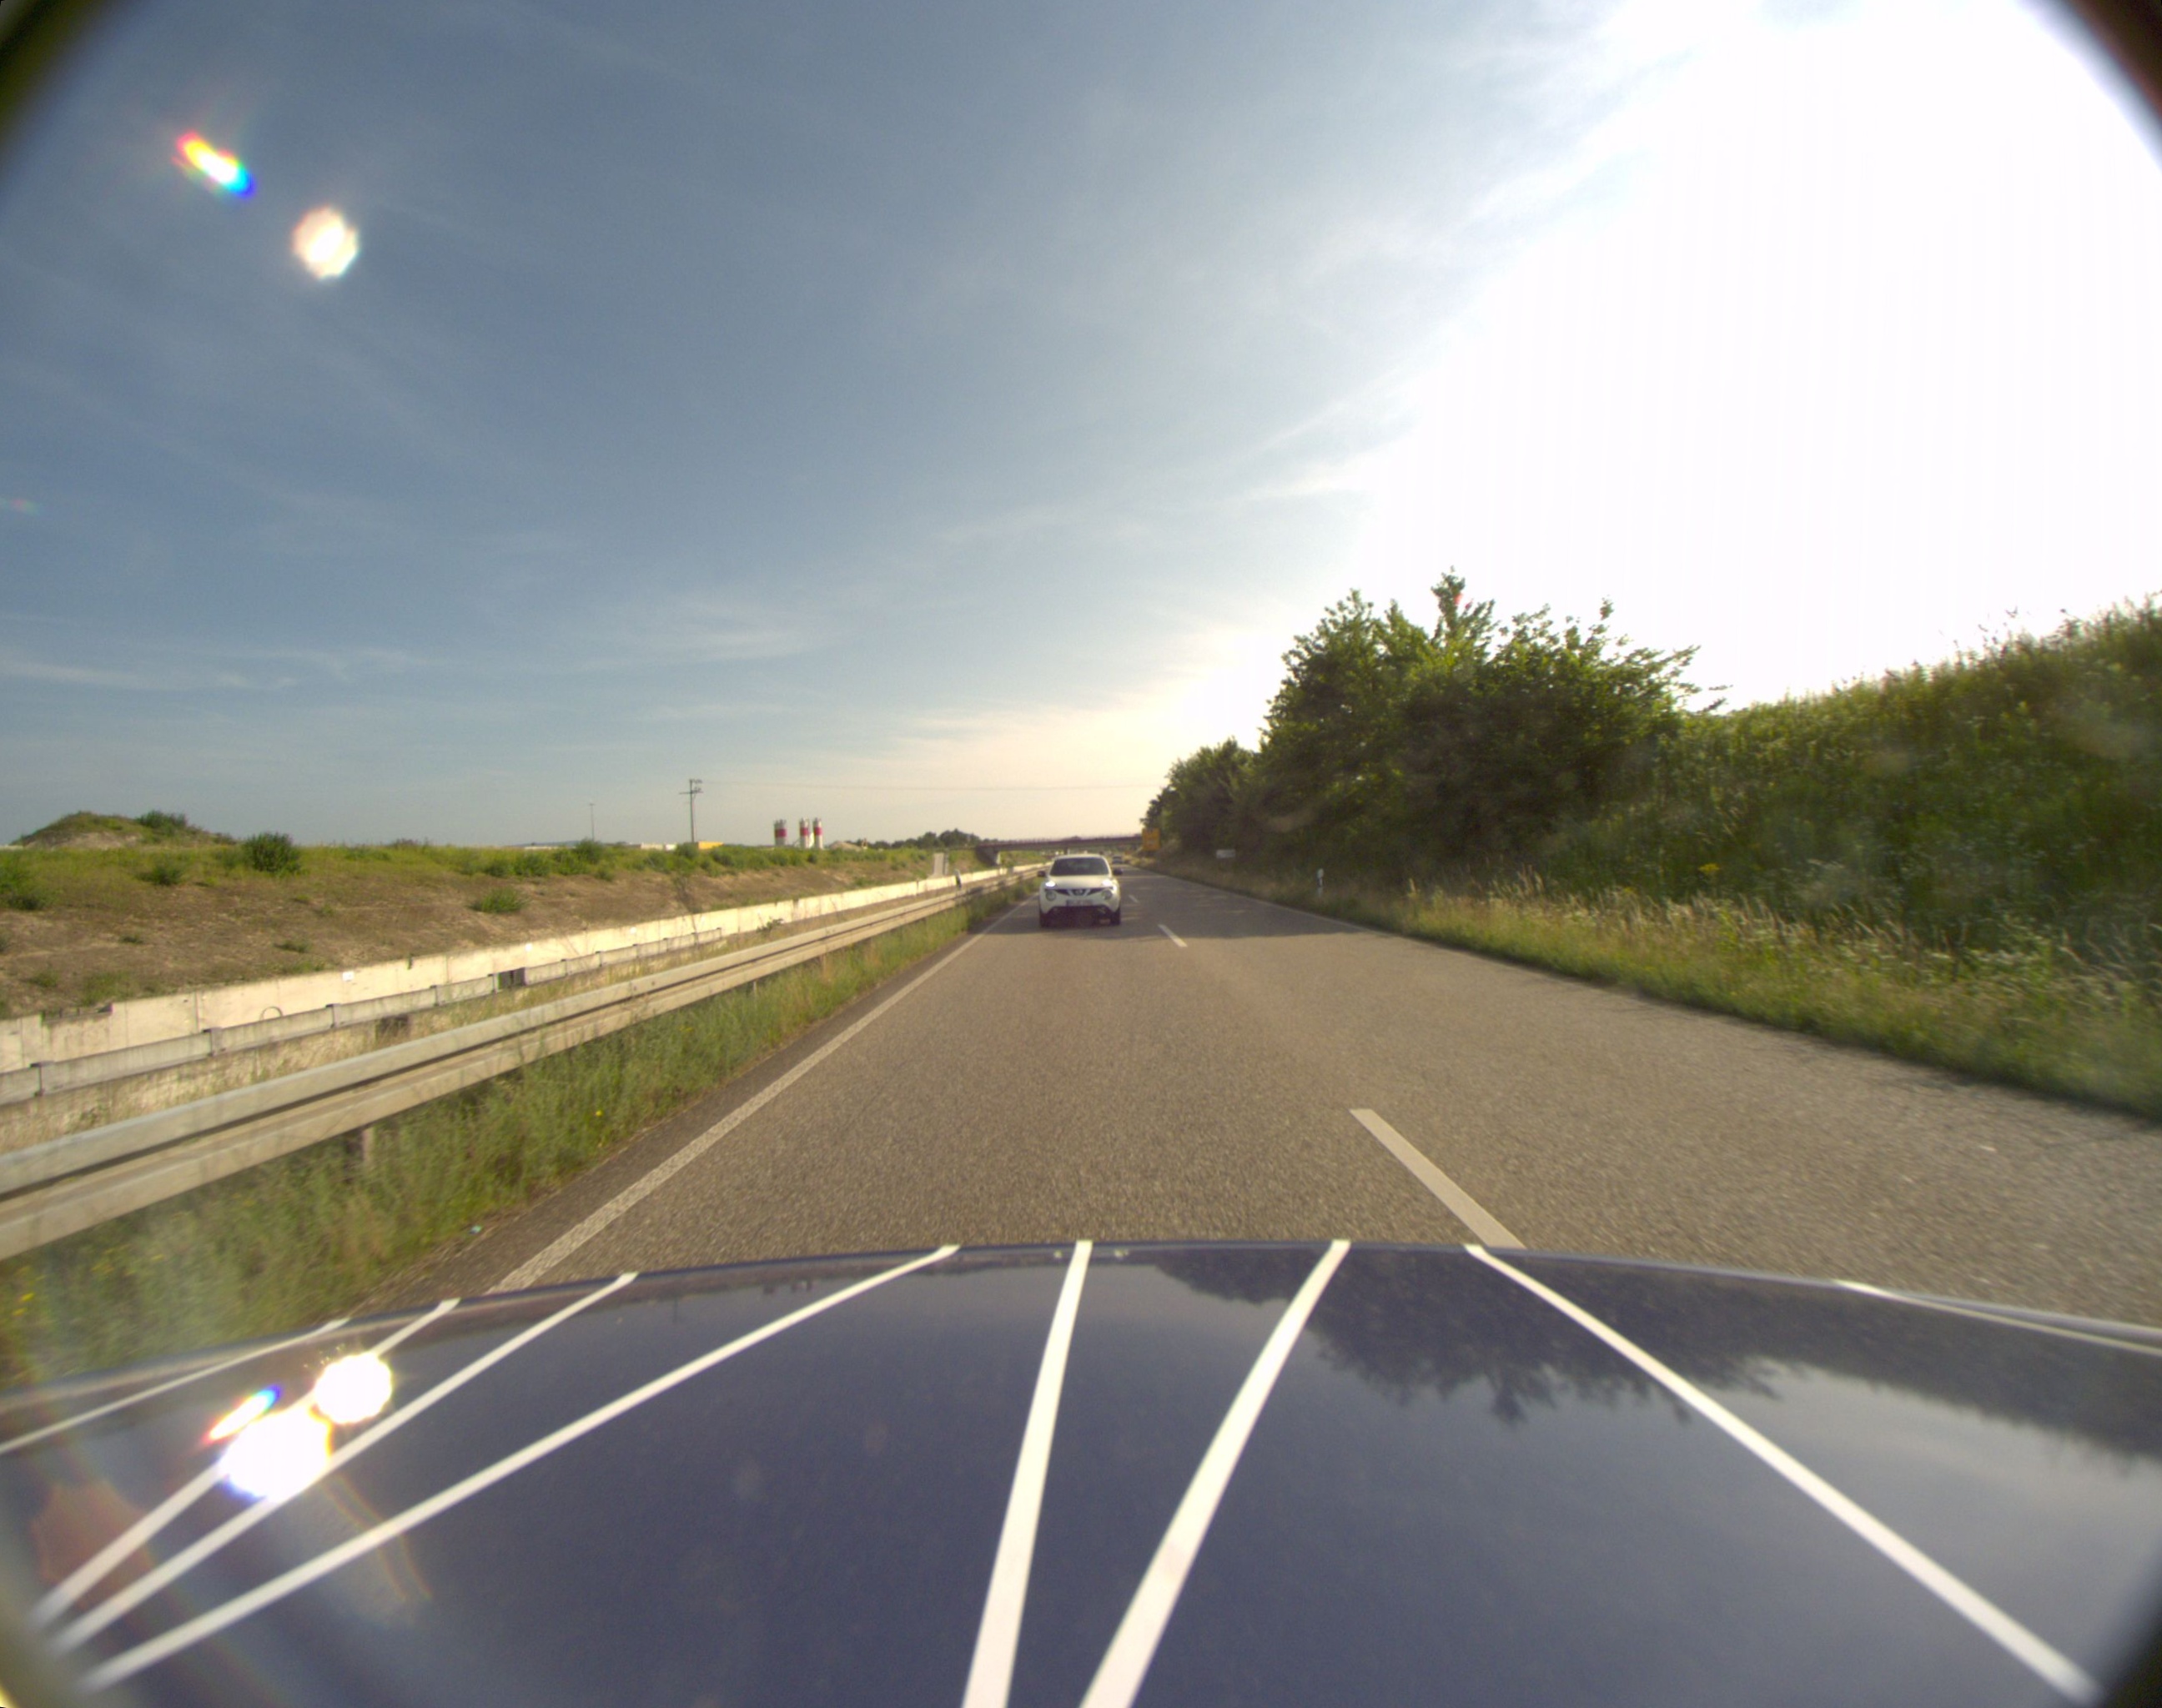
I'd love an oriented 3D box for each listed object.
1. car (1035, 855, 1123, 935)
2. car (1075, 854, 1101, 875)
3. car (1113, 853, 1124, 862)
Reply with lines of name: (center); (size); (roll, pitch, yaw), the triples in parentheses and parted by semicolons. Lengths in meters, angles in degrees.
car: (-0.053, 0.846, 18.014); (1.789, 1.593, 4.571); (-1, 0, -1)
car: (0.543, 0.811, 59.382); (1.908, 1.512, 4.465); (-2, 0, 1)
car: (6.942, 0.636, 139.492); (1.749, 1.555, 4.365); (-2, 0, 0)
